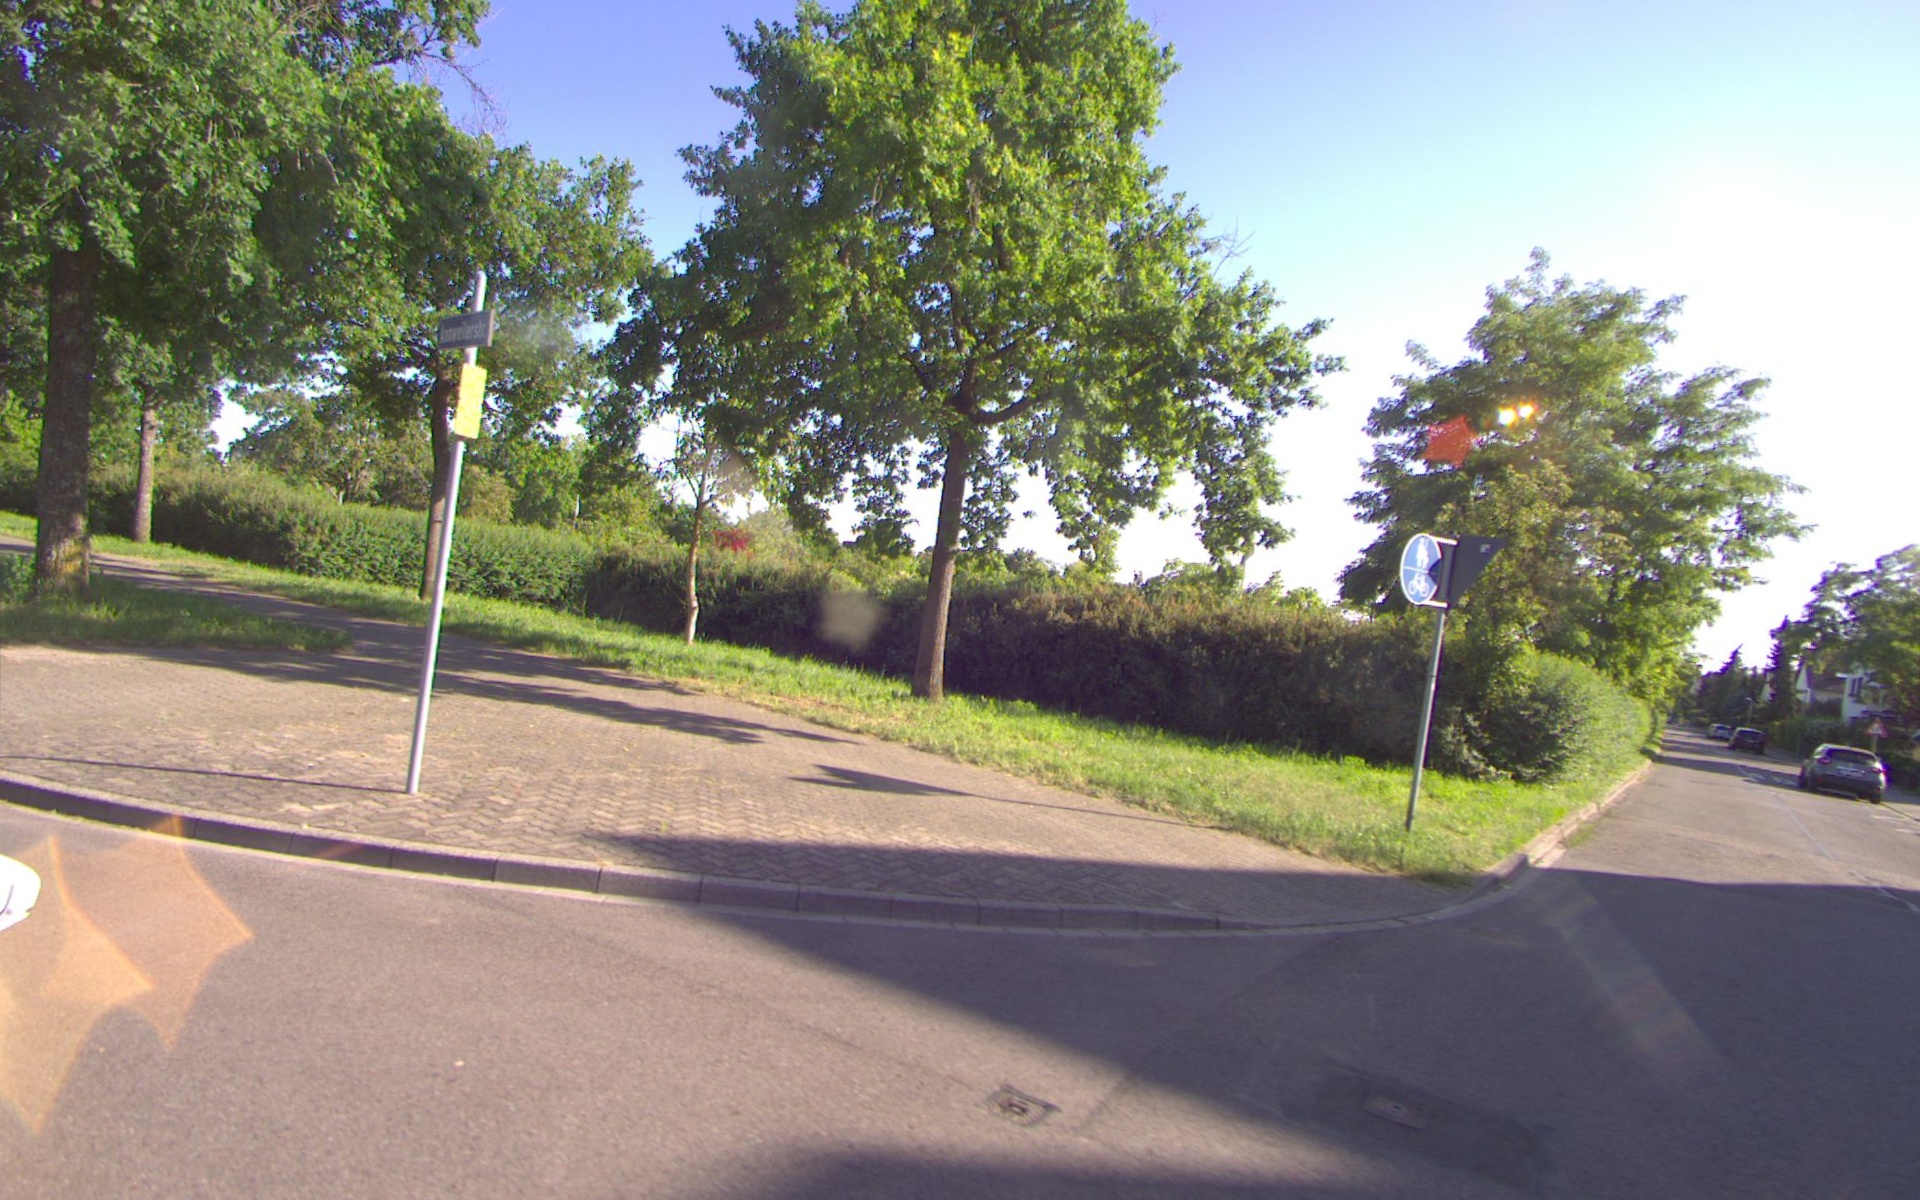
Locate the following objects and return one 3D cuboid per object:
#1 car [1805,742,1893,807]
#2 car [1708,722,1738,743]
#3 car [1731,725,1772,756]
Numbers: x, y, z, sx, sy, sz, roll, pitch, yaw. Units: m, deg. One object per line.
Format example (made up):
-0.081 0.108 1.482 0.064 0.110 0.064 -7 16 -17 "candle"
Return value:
28.311 5.503 32.134 1.679 1.548 3.986 8 0 38 "car"
75.503 13.080 99.577 1.968 1.615 3.989 8 0 35 "car"
55.797 9.894 70.952 1.969 1.726 3.988 8 0 37 "car"
